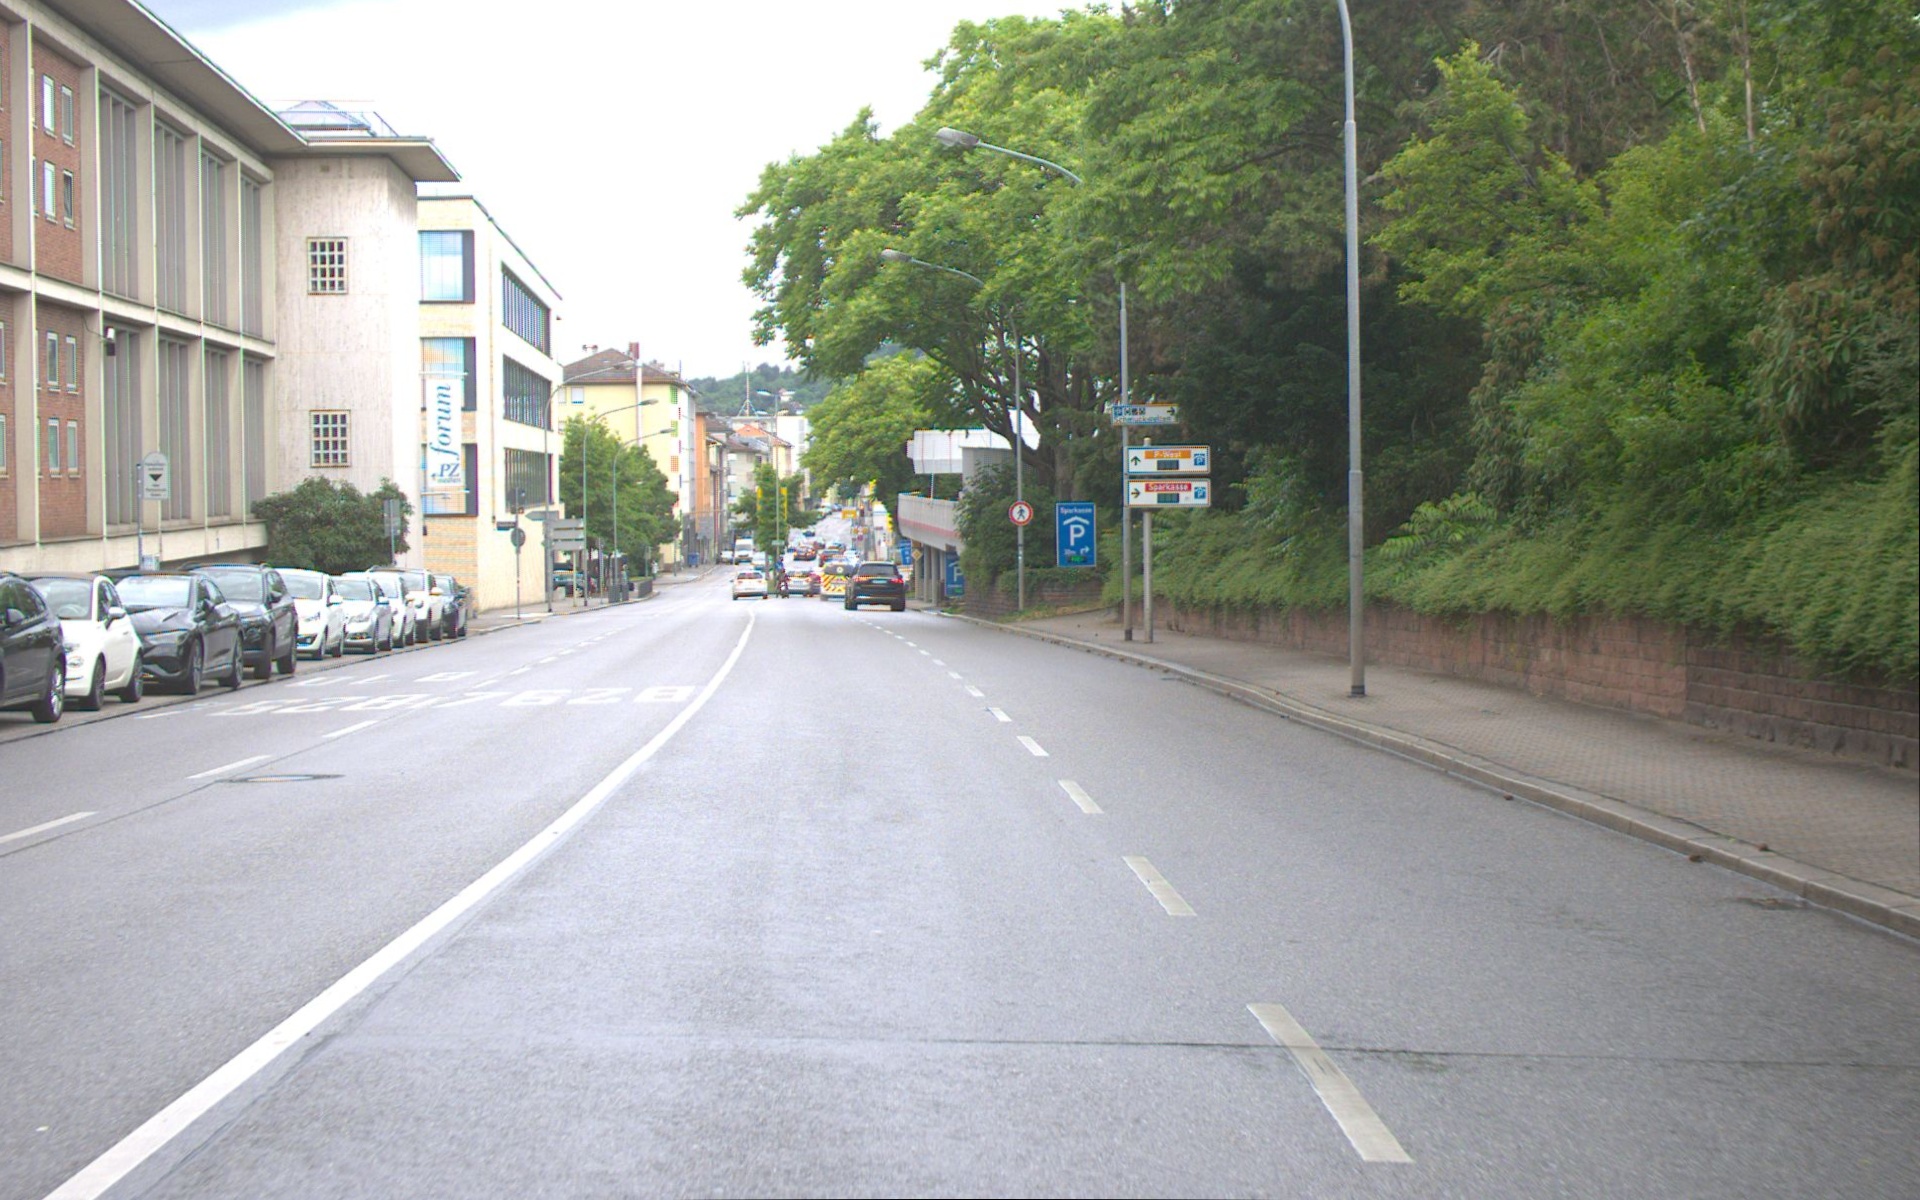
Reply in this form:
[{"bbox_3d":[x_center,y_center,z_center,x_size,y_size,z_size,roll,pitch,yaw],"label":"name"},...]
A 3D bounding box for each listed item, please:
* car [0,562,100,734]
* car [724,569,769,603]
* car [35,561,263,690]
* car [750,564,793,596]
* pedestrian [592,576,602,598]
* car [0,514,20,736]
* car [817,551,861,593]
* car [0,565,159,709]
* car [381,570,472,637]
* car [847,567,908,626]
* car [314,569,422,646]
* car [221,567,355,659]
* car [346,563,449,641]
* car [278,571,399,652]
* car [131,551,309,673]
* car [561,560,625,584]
[{"bbox_3d":[-9.848,0.441,33.640,1.861,1.546,4.313,-1,1,-1],"label":"car"},{"bbox_3d":[-10.918,-0.710,175.492,1.993,1.674,4.001,0,1,-8],"label":"car"},{"bbox_3d":[-10.175,0.275,43.474,1.815,1.479,4.910,-1,1,-1],"label":"car"},{"bbox_3d":[-10.148,-1.102,184.649,1.993,1.674,4.001,0,1,-8],"label":"car"},{"bbox_3d":[-20.663,-0.750,195.490,0.454,1.274,0.454,0,1,8],"label":"pedestrian"},{"bbox_3d":[-9.298,0.260,28.114,1.949,1.937,4.996,0,1,-1],"label":"car"},{"bbox_3d":[-5.824,-1.361,165.040,1.993,1.831,4.001,-2,2,-2],"label":"car"},{"bbox_3d":[-10.101,0.385,38.335,1.566,1.479,3.553,-1,1,-1],"label":"car"},{"bbox_3d":[-12.385,0.069,80.010,1.747,1.475,4.182,1,1,-4],"label":"car"},{"bbox_3d":[-3.014,-0.158,124.815,2.091,1.904,4.100,-2,2,-2],"label":"car"},{"bbox_3d":[-11.939,0.129,69.518,1.747,1.449,4.182,1,1,-4],"label":"car"},{"bbox_3d":[-11.461,0.191,58.839,1.679,1.517,3.921,0,1,-3],"label":"car"},{"bbox_3d":[-12.212,0.020,74.827,1.748,1.592,4.182,1,1,-3],"label":"car"},{"bbox_3d":[-11.543,0.198,64.066,1.747,1.430,4.487,1,0,-4],"label":"car"},{"bbox_3d":[-10.609,0.157,49.581,1.841,1.647,4.516,1,0,-4],"label":"car"},{"bbox_3d":[-21.891,-1.657,204.986,3.654,1.230,1.441,-3,2,-8],"label":"car"}]
